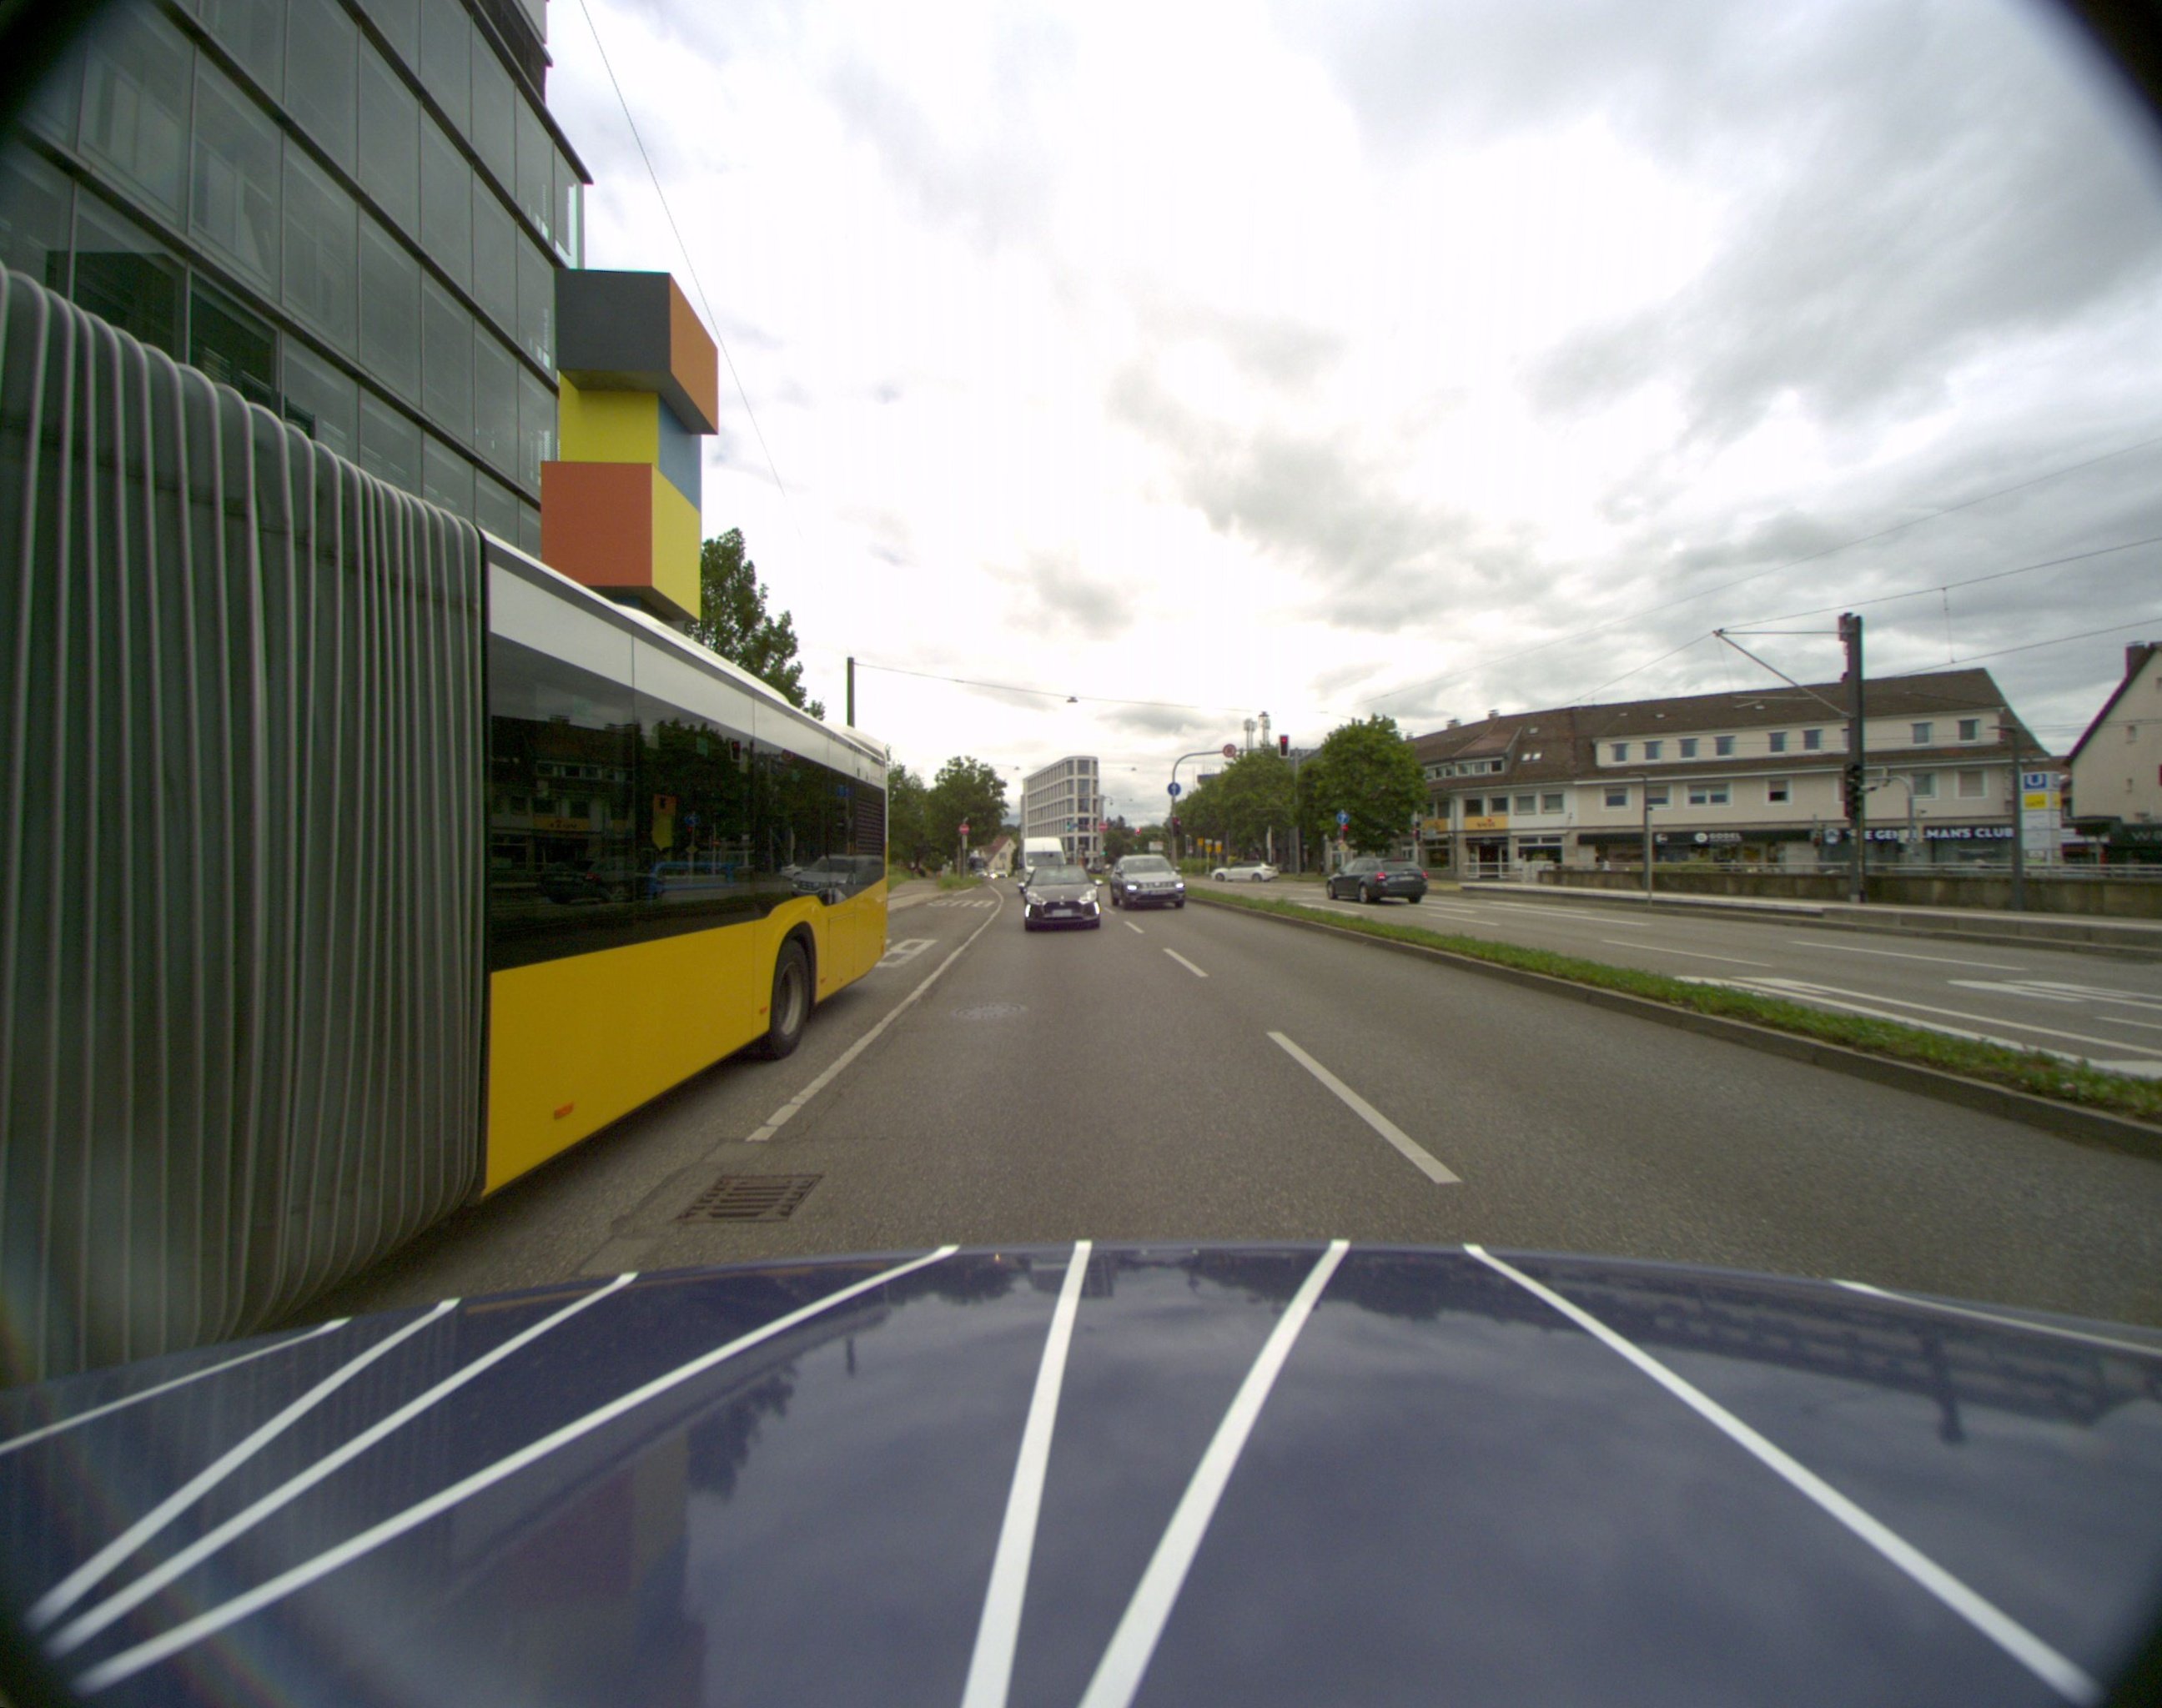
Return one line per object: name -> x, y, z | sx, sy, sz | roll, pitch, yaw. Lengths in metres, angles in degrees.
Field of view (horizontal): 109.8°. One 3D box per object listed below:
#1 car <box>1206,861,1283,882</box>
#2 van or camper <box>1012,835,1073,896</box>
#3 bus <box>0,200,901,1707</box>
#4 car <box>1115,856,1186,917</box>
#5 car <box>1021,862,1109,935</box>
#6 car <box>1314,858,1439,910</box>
car -> 11.332, 1.209, 52.649 | 4.797, 1.348, 2.004 | -1, 0, 32
van or camper -> -2.008, 0.532, 37.056 | 2.281, 2.690, 6.990 | 0, 0, -9
bus -> -3.530, 0.278, 4.979 | 2.719, 3.090, 8.869 | 0, 0, -1
car -> 2.105, 0.952, 24.167 | 1.998, 1.640, 4.394 | -2, 0, 3
car -> -0.489, 0.976, 18.242 | 1.864, 1.516, 3.998 | 0, 0, -5
car -> 9.415, 0.896, 24.671 | 1.999, 1.503, 4.643 | 0, 0, -4
